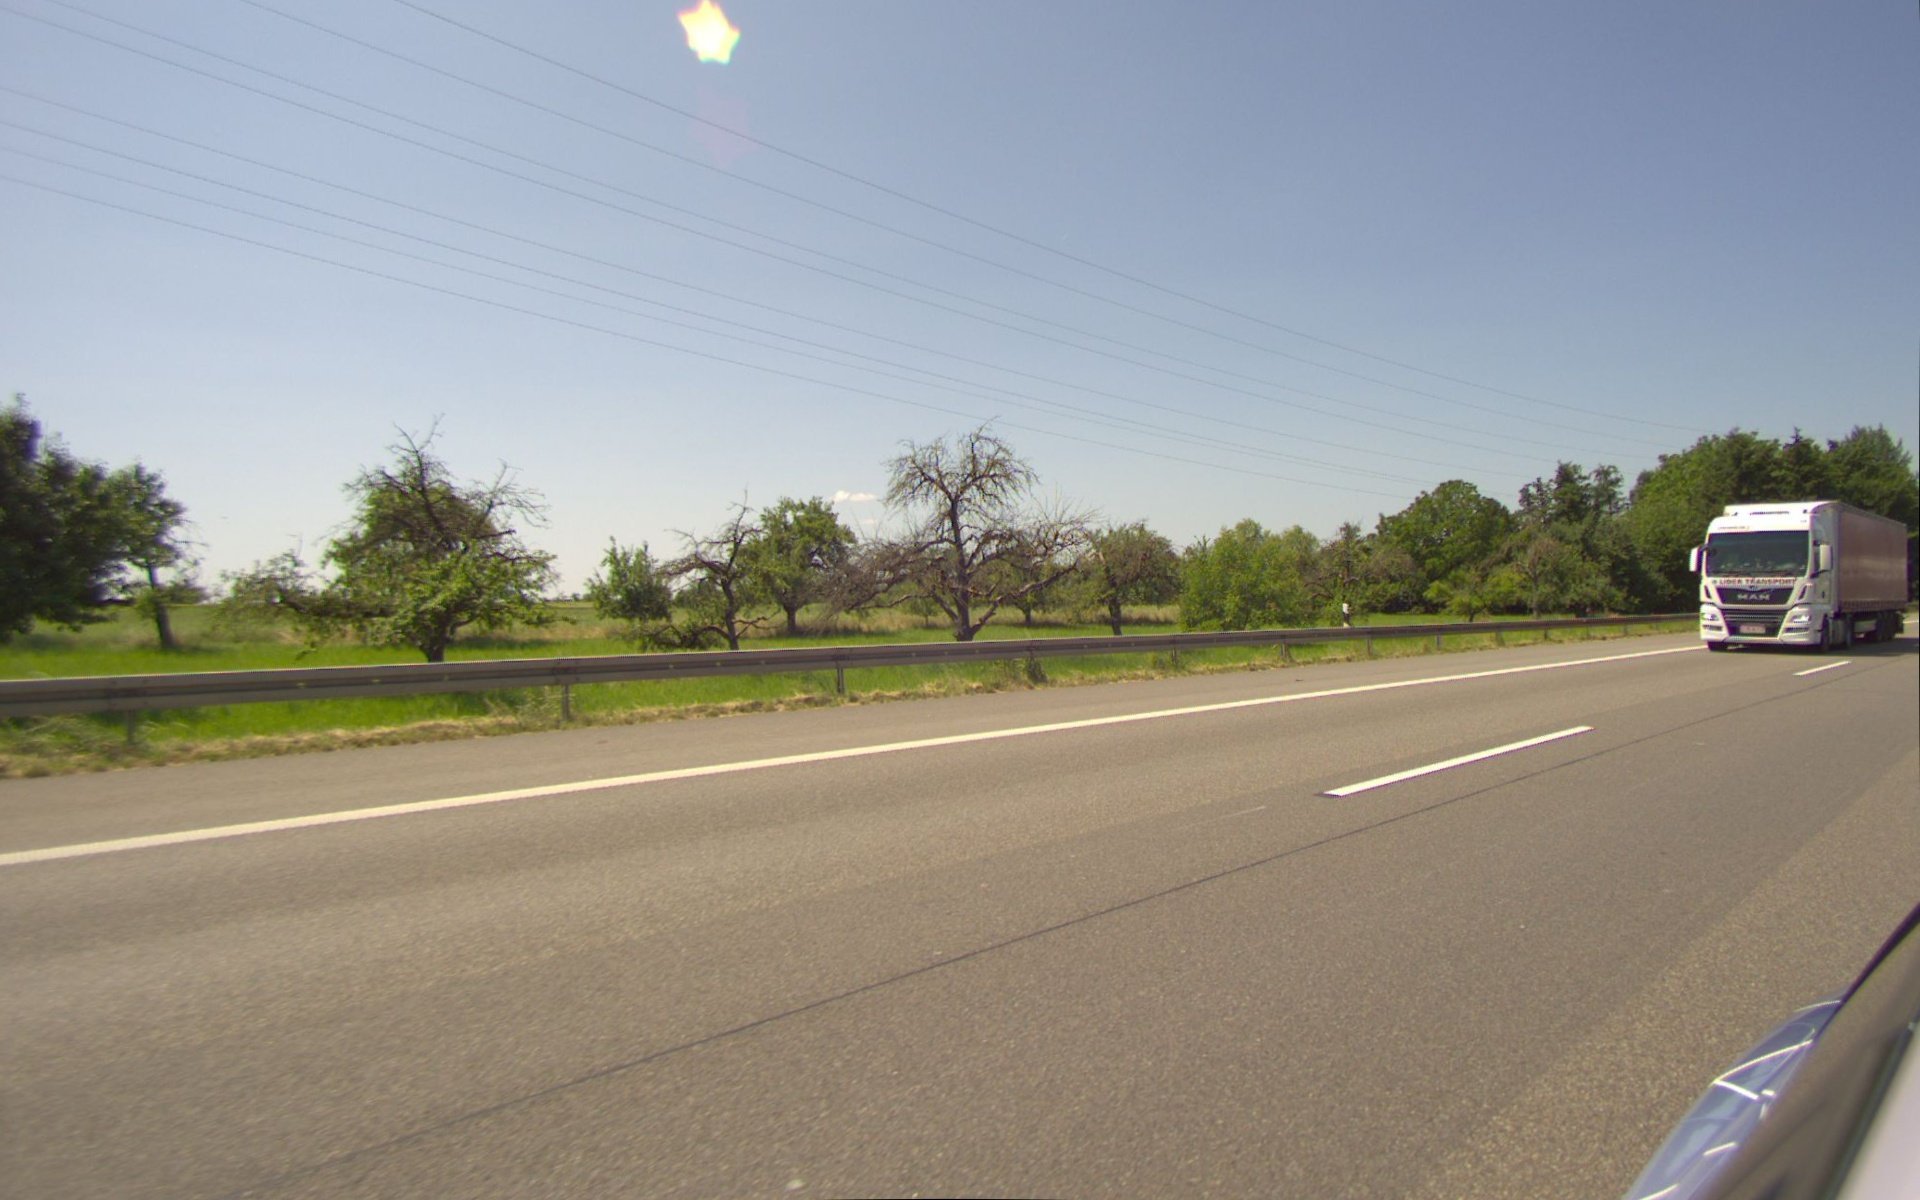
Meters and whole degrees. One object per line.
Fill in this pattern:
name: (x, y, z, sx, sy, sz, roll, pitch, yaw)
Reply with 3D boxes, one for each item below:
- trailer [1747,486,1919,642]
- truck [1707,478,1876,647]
trailer: (29.113, -1.080, 33.034, 12.799, 4.317, 2.607, -1, 1, -39)
truck: (23.145, -0.969, 28.059, 6.138, 4.206, 2.566, -1, 0, -40)
